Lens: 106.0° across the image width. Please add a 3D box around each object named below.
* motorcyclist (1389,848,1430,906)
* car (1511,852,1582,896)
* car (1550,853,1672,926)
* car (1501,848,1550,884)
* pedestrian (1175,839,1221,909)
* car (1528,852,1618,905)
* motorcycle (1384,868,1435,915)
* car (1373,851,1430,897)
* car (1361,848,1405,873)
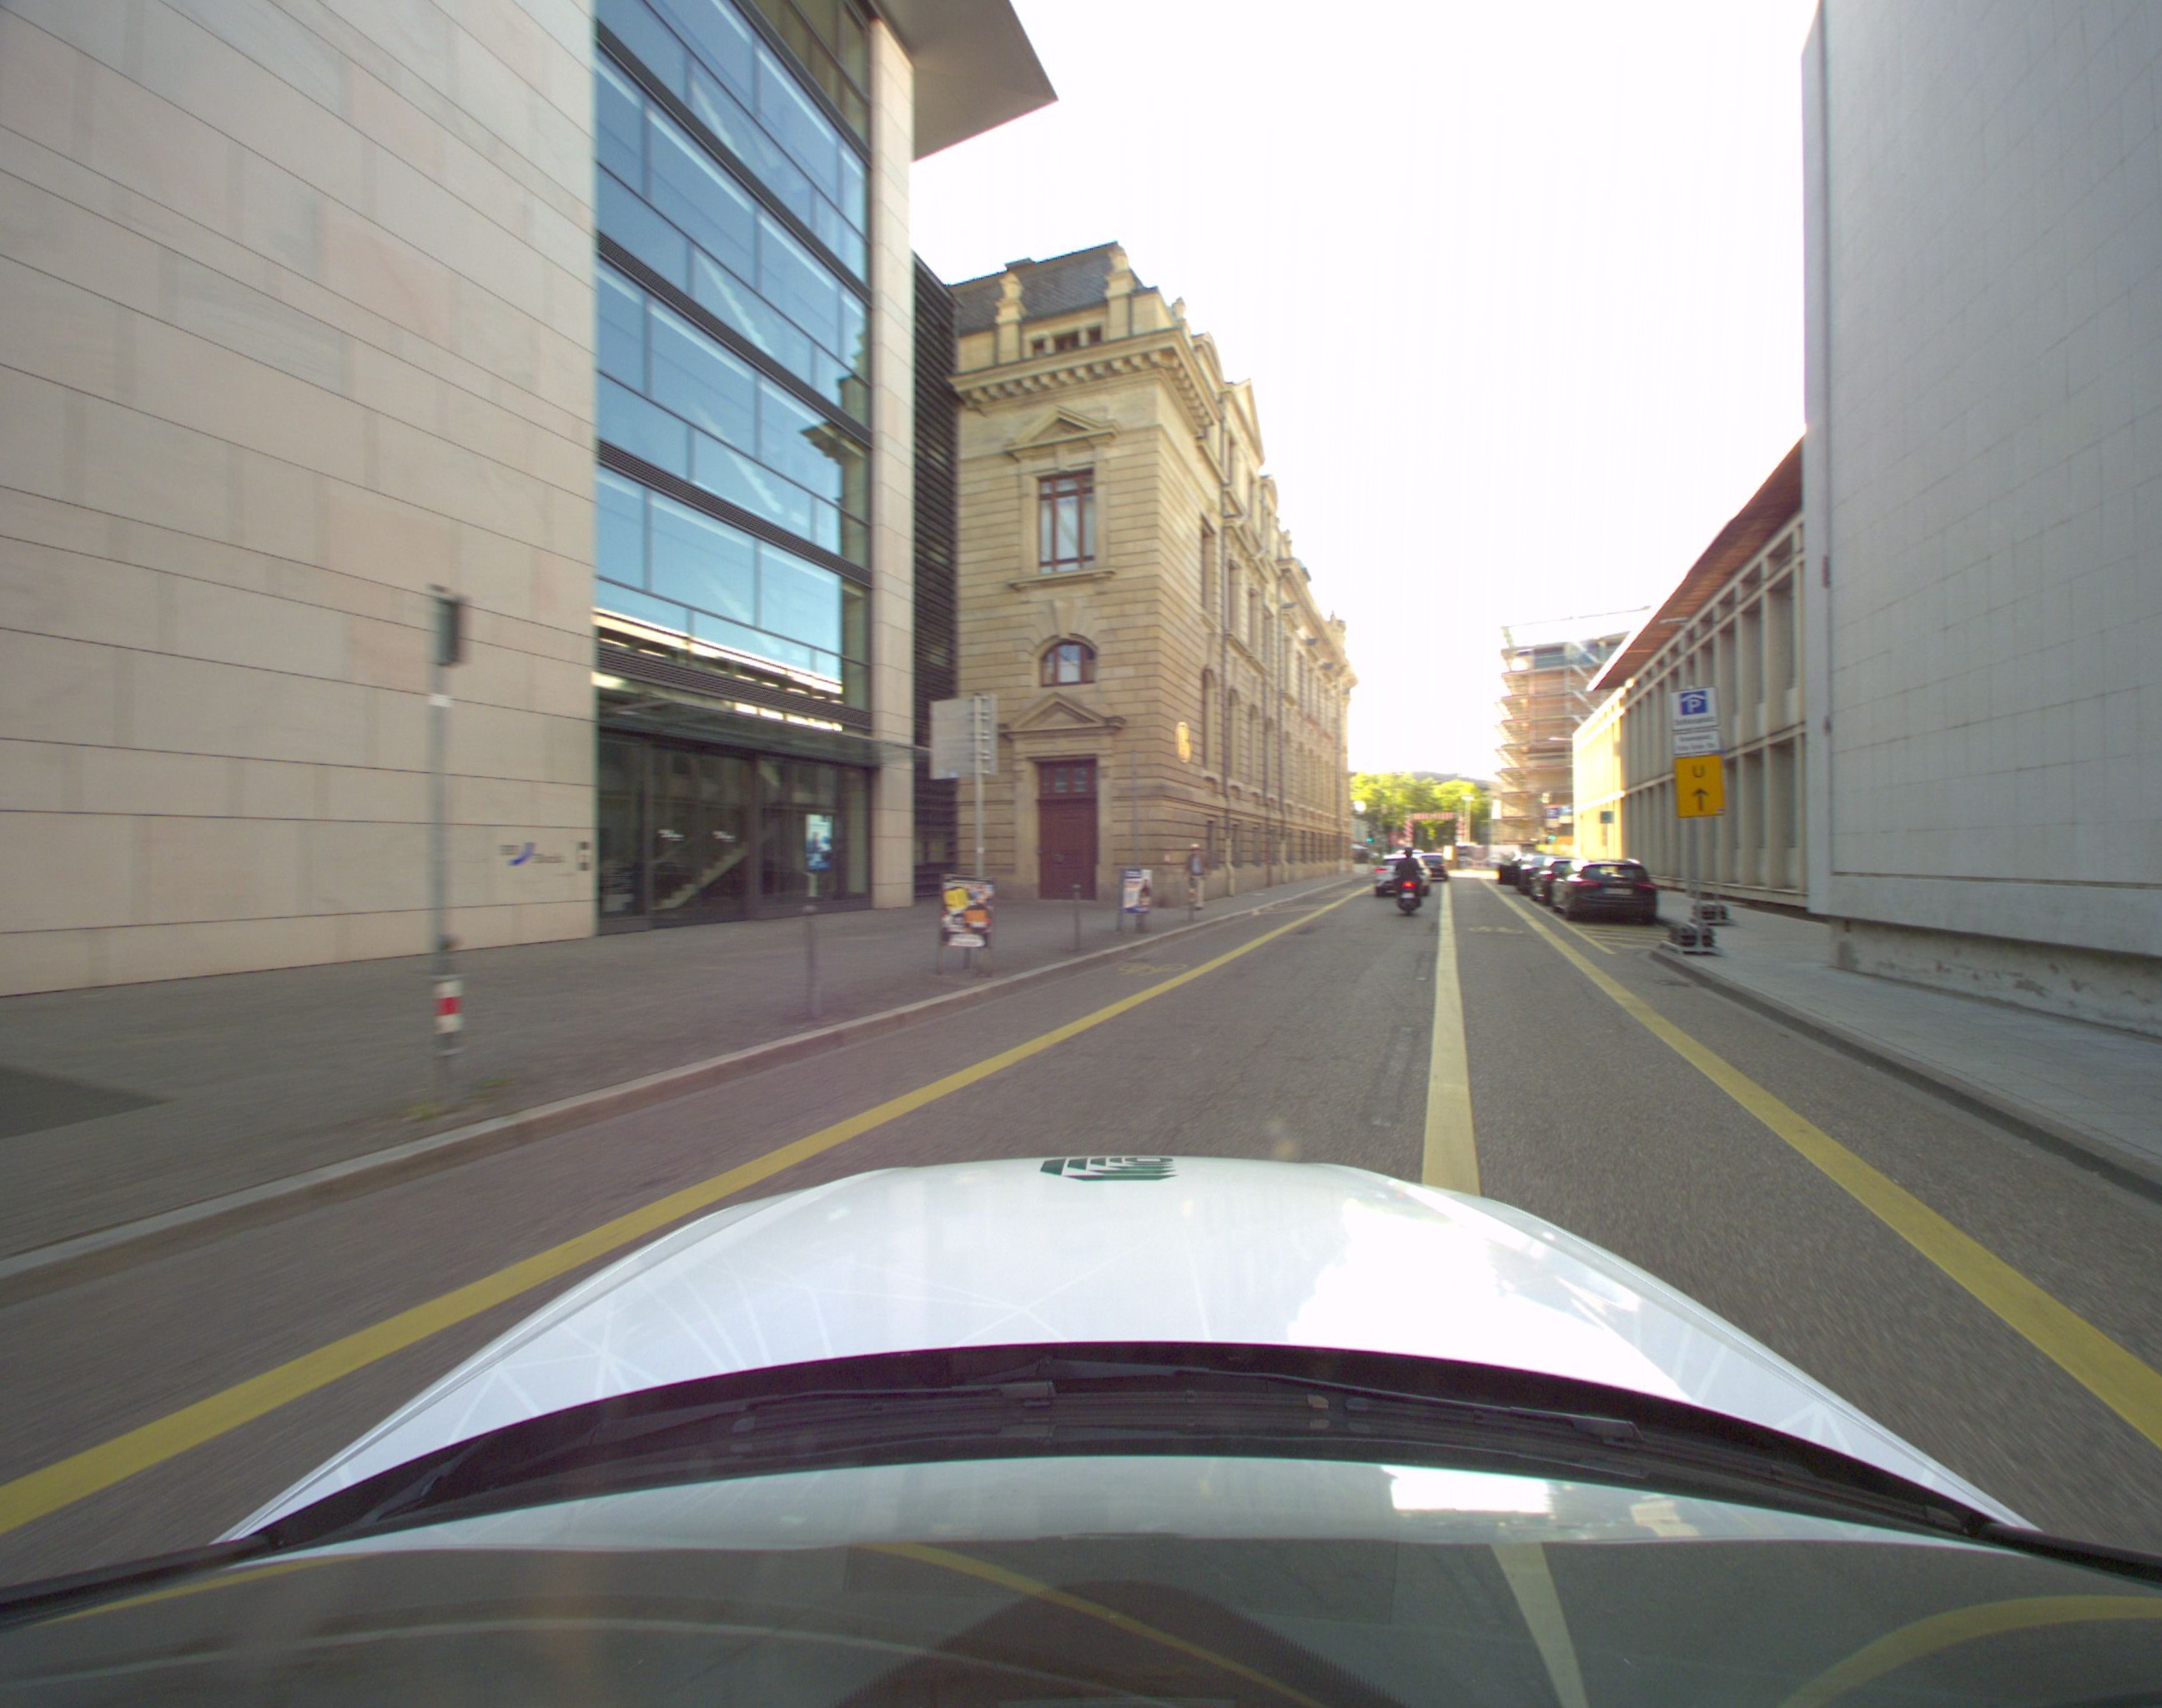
[{"bbox_3d":[8.232,0.575,20.395,0.858,1.427,0.458,-1,-2,32],"label":"motorcyclist"},{"bbox_3d":[17.408,0.688,30.647,1.808,1.501,4.763,1,0,23],"label":"car"},{"bbox_3d":[12.616,0.745,19.656,1.766,1.479,4.313,1,1,23],"label":"car"},{"bbox_3d":[23.043,0.579,42.391,1.808,1.699,4.693,1,1,23],"label":"car"},{"bbox_3d":[3.181,0.526,22.029,0.833,1.800,1.080,3,0,26],"label":"pedestrian"},{"bbox_3d":[15.048,0.723,25.125,1.765,1.479,4.312,-1,-1,23],"label":"car"},{"bbox_3d":[8.297,0.918,20.518,0.864,1.109,1.851,-1,-2,31],"label":"motorcycle"},{"bbox_3d":[11.781,0.685,29.956,1.807,1.541,4.286,0,0,22],"label":"car"},{"bbox_3d":[22.617,0.444,61.180,1.984,1.664,4.365,-3,1,6],"label":"car"}]
